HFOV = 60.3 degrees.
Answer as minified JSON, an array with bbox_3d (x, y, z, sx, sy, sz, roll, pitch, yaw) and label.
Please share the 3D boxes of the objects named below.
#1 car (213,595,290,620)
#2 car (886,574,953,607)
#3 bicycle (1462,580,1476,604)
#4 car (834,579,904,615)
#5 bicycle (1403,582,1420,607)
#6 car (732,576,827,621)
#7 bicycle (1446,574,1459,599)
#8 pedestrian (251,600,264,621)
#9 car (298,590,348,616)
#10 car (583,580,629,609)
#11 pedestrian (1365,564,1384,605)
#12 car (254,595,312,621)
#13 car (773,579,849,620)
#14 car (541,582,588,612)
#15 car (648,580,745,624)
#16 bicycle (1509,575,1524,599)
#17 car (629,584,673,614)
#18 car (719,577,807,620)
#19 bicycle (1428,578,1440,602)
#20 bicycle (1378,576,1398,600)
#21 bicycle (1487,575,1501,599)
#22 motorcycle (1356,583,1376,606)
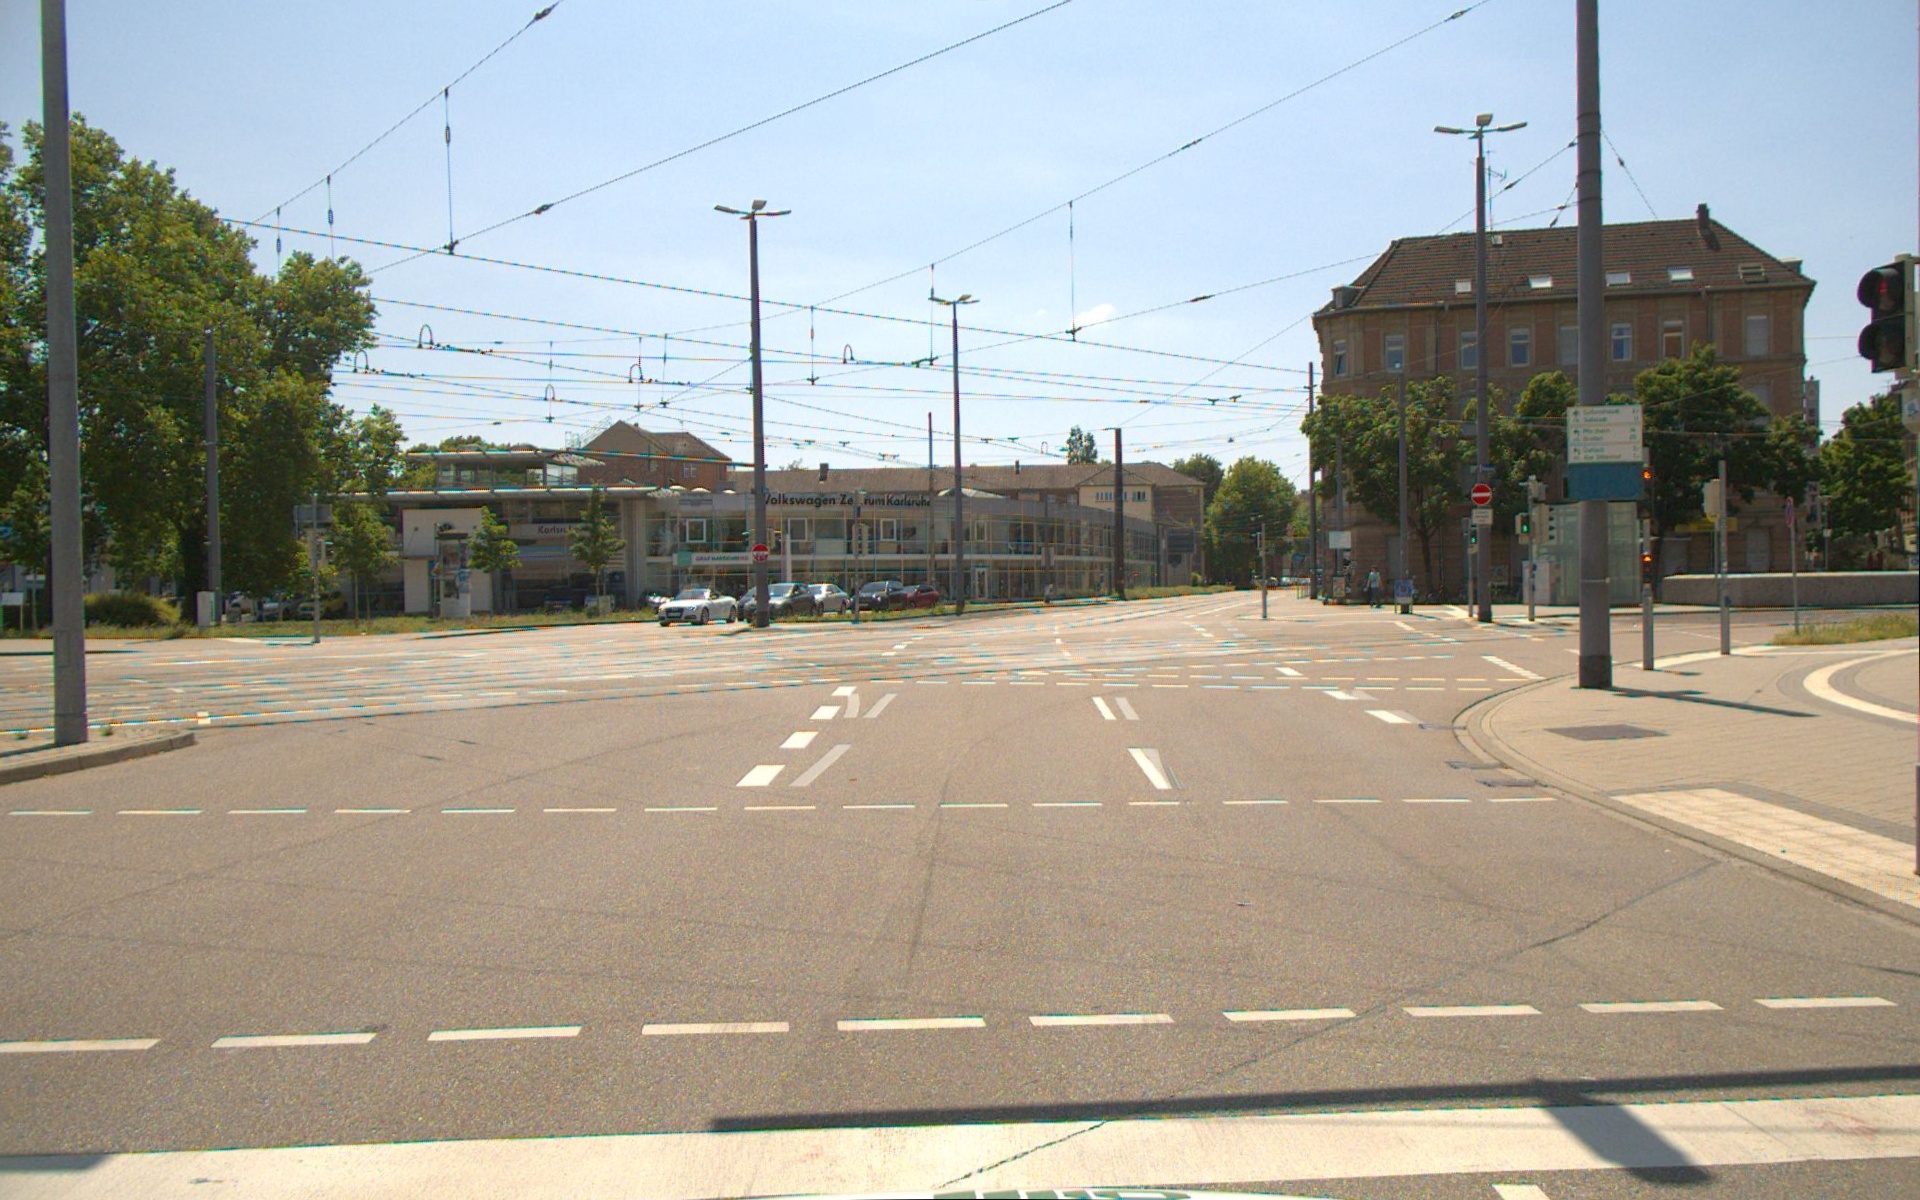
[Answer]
[{"bbox_3d":[-45.701,0.469,106.719,4.279,1.536,1.750,-1,1,-36],"label":"car"},{"bbox_3d":[-2.296,-0.532,94.723,1.958,1.807,3.988,1,-1,33],"label":"car"},{"bbox_3d":[24.238,-0.382,78.748,0.539,1.139,1.891,-1,1,15],"label":"bicycle"},{"bbox_3d":[-4.577,-0.162,83.963,2.034,1.712,4.850,-1,1,16],"label":"car"},{"bbox_3d":[21.756,-0.261,79.725,0.433,1.166,2.095,1,0,6],"label":"bicycle"},{"bbox_3d":[-6.968,-0.082,64.382,1.951,1.666,4.850,-1,1,16],"label":"car"},{"bbox_3d":[23.464,-0.642,78.862,0.539,1.139,1.822,-1,1,15],"label":"bicycle"},{"bbox_3d":[-41.231,0.623,97.053,0.502,1.225,0.446,-1,0,5],"label":"pedestrian"},{"bbox_3d":[-38.721,0.179,100.628,1.732,1.536,4.322,-1,1,-5],"label":"car"},{"bbox_3d":[-21.306,-0.314,99.716,1.881,1.737,4.000,1,0,0],"label":"car"},{"bbox_3d":[17.457,-0.645,69.669,0.455,1.738,0.635,-1,0,-25],"label":"pedestrian"},{"bbox_3d":[-41.349,0.472,101.105,1.731,1.536,4.327,-1,1,0],"label":"car"},{"bbox_3d":[-6.806,-0.038,76.155,1.951,1.770,4.546,-1,1,16],"label":"car"},{"bbox_3d":[-23.794,-0.157,99.669,1.881,1.737,4.000,1,0,0],"label":"car"},{"bbox_3d":[-10.149,0.044,64.022,2.032,1.607,4.850,-1,1,13],"label":"car"},{"bbox_3d":[26.575,-0.622,79.017,0.539,1.139,1.931,-1,0,15],"label":"bicycle"},{"bbox_3d":[-18.657,-0.067,100.018,1.881,1.737,4.000,1,0,0],"label":"car"},{"bbox_3d":[-8.310,-0.072,70.189,1.951,1.730,4.850,-1,1,16],"label":"car"},{"bbox_3d":[22.686,-0.488,79.153,0.539,1.139,1.821,-1,0,16],"label":"bicycle"},{"bbox_3d":[20.481,-0.575,79.153,0.539,1.139,1.821,-1,0,2],"label":"bicycle"},{"bbox_3d":[25.543,-0.623,79.101,0.539,1.139,1.872,-1,0,15],"label":"bicycle"},{"bbox_3d":[19.455,-0.278,79.315,0.568,1.093,1.947,-1,0,3],"label":"motorcycle"}]
